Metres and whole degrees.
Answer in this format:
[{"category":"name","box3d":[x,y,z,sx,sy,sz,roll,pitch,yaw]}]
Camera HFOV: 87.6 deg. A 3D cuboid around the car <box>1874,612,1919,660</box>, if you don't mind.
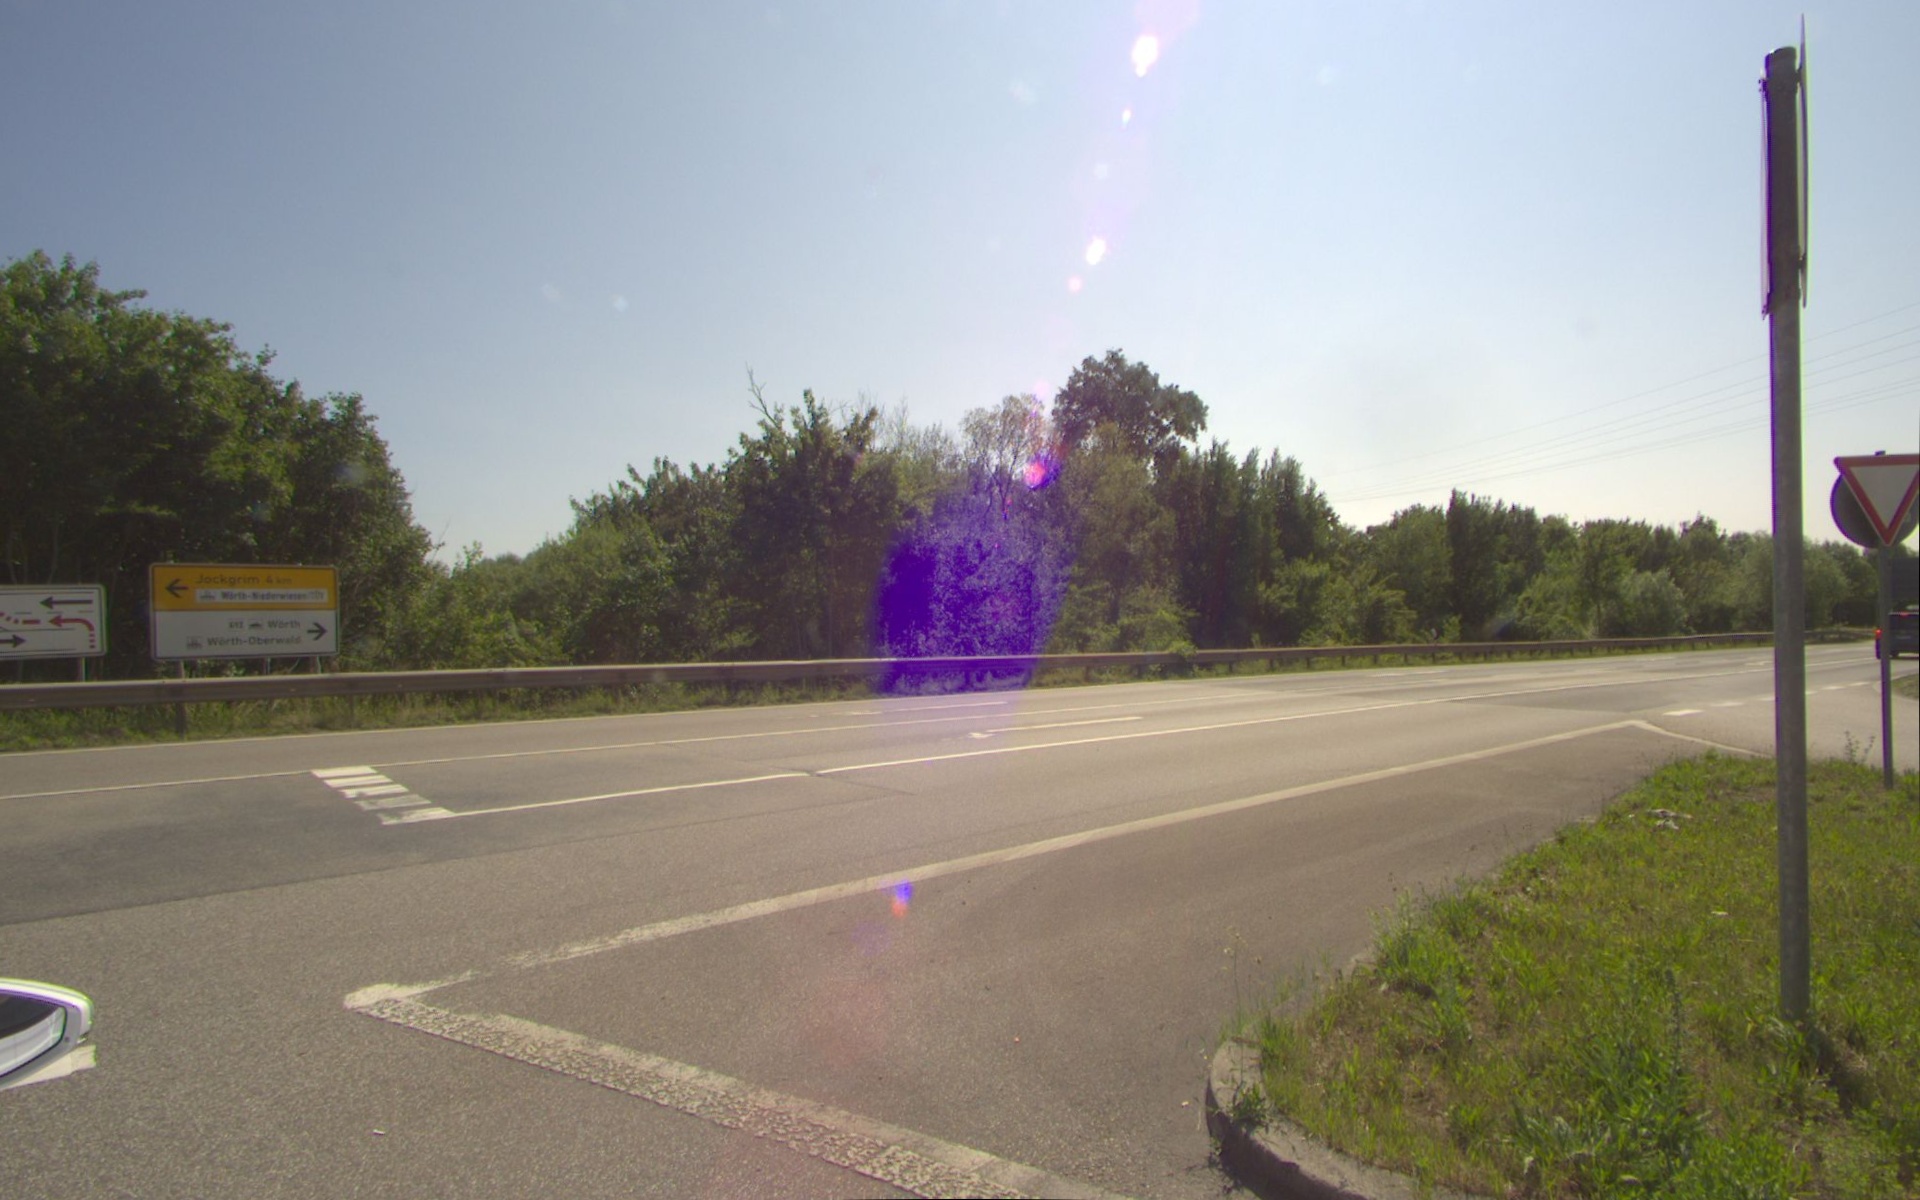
[{"category":"car","box3d":[40.154,1.493,41.875,4.934,1.903,1.985,1,-2,-37]}]
